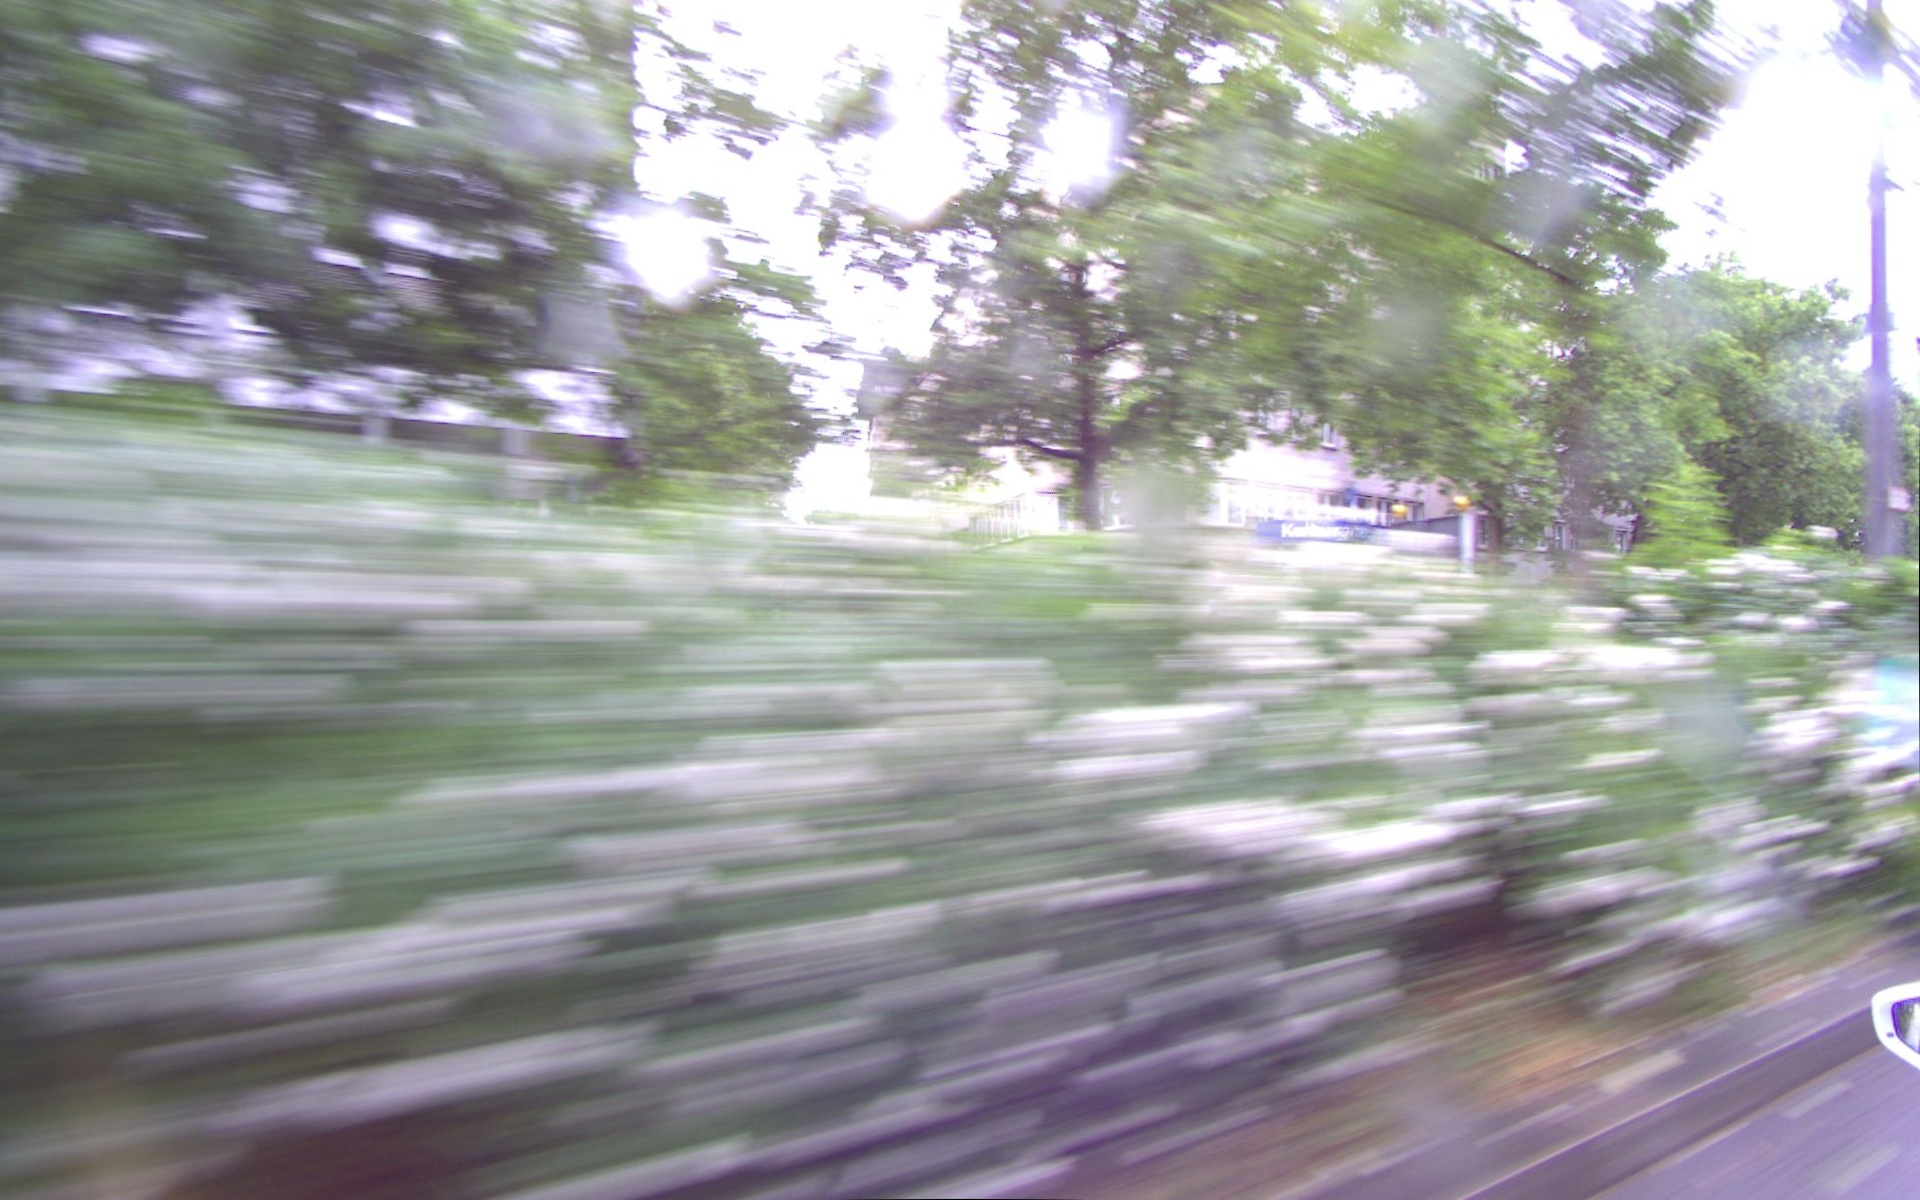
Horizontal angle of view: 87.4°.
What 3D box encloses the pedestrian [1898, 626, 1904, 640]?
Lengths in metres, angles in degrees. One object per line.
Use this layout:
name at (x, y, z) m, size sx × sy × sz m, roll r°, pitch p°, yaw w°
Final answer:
pedestrian at (92.889, 3.236, 99.160) m, size 0.403 × 1.414 × 0.390 m, roll 1°, pitch 0°, yaw -33°
